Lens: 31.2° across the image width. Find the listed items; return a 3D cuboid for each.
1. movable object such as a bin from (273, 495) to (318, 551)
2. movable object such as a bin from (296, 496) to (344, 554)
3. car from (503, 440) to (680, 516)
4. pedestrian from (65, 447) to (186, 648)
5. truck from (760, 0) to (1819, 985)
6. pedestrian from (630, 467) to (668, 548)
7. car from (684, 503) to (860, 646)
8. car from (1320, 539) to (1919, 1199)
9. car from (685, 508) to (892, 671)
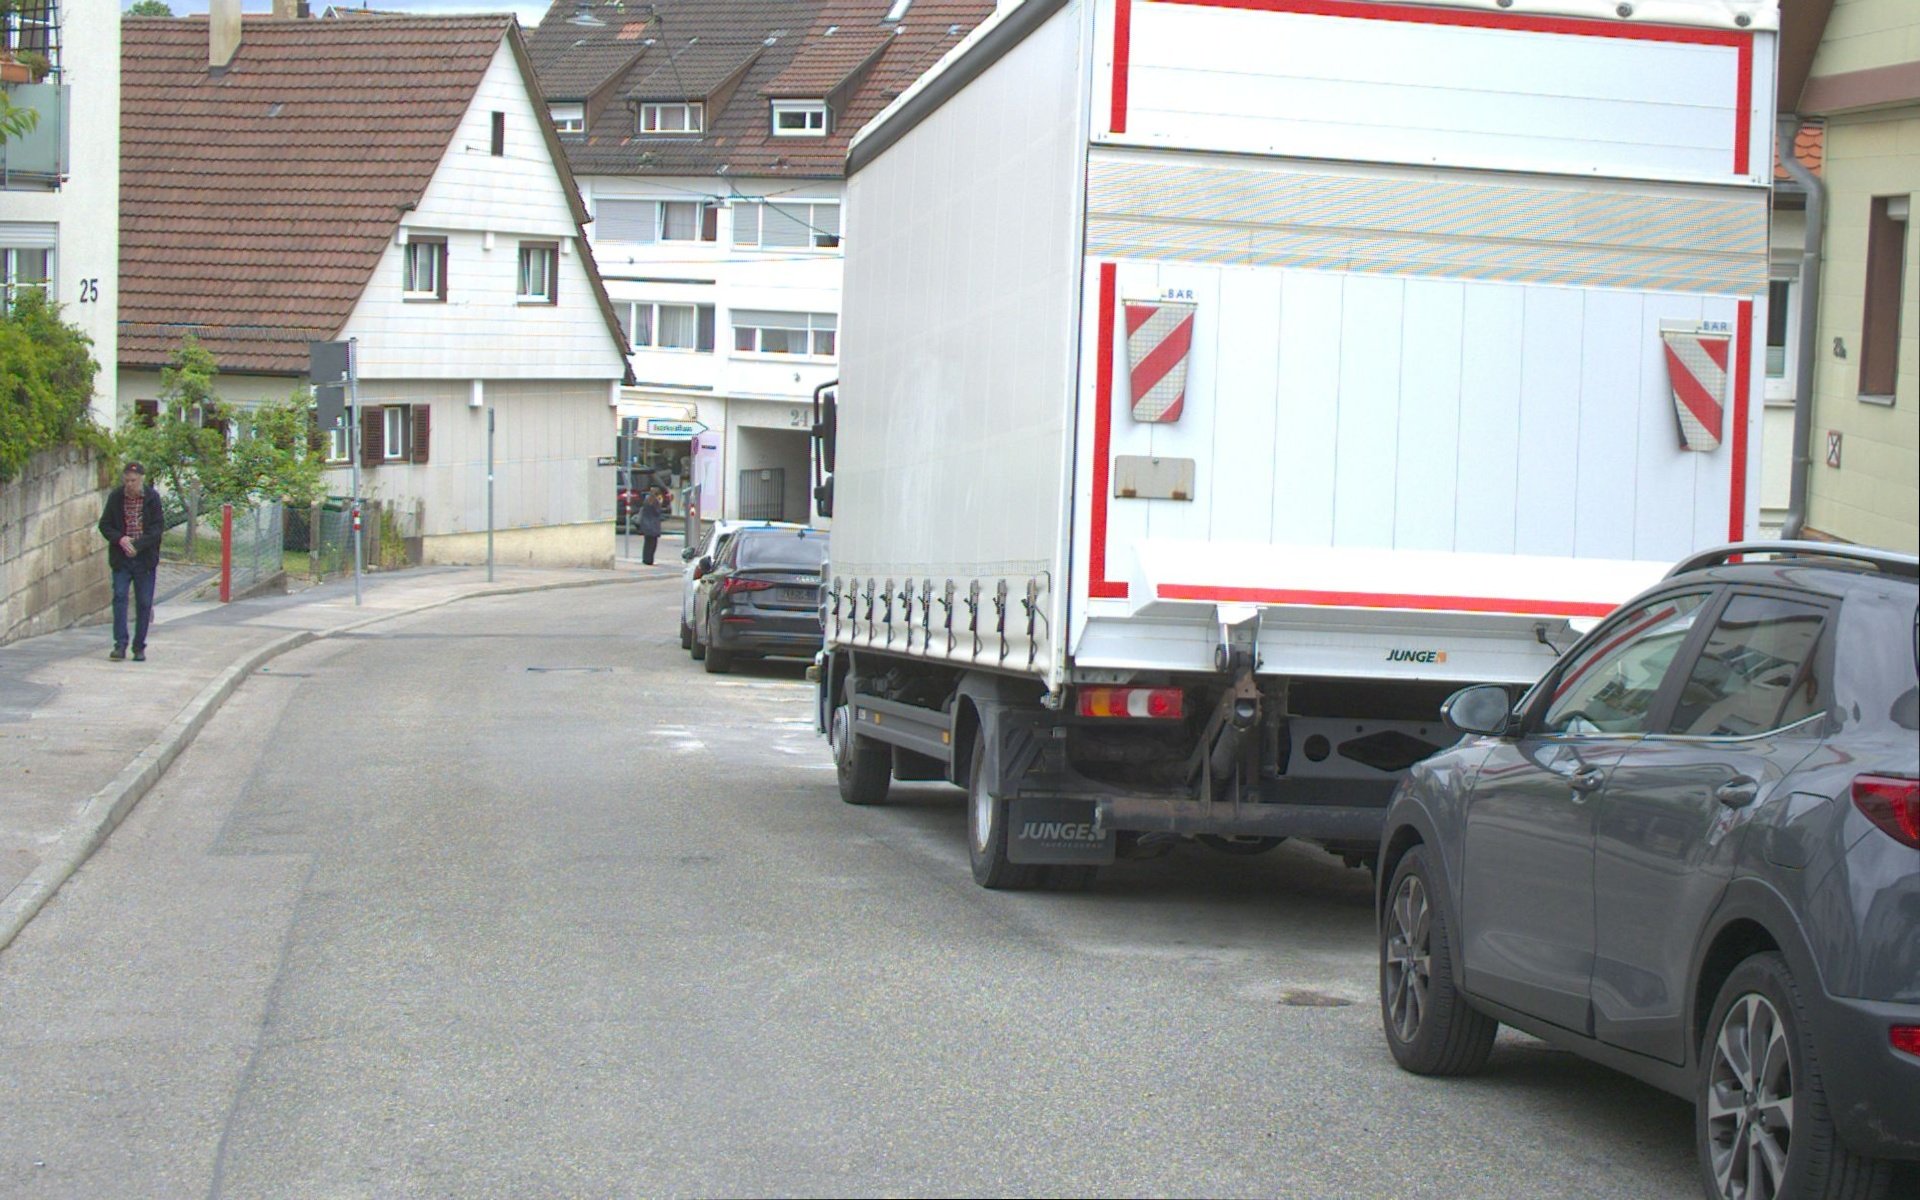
[{"bbox_3d":[-11.212,-1.299,58.017,0.495,0.875,0.452,7,2,27],"label":"movable object such as a bin"},{"bbox_3d":[-10.746,-1.262,57.724,0.527,0.914,0.489,7,2,27],"label":"movable object such as a bin"},{"bbox_3d":[-9.568,-3.189,89.121,4.364,1.773,1.943,4,4,37],"label":"car"},{"bbox_3d":[-7.232,-0.460,29.836,0.840,1.672,0.977,4,1,-9],"label":"pedestrian"},{"bbox_3d":[0.938,-0.625,15.883,2.675,3.584,8.108,2,2,-10],"label":"truck"},{"bbox_3d":[-6.679,-1.987,73.803,0.646,1.679,0.604,1,3,-16],"label":"pedestrian"},{"bbox_3d":[-2.210,-0.337,39.469,1.794,1.440,4.299,3,1,-5],"label":"car"},{"bbox_3d":[2.279,0.661,8.507,1.732,1.501,4.052,3,1,-8],"label":"car"},{"bbox_3d":[-1.758,-0.152,34.059,1.673,1.403,4.053,3,1,-7],"label":"car"}]
